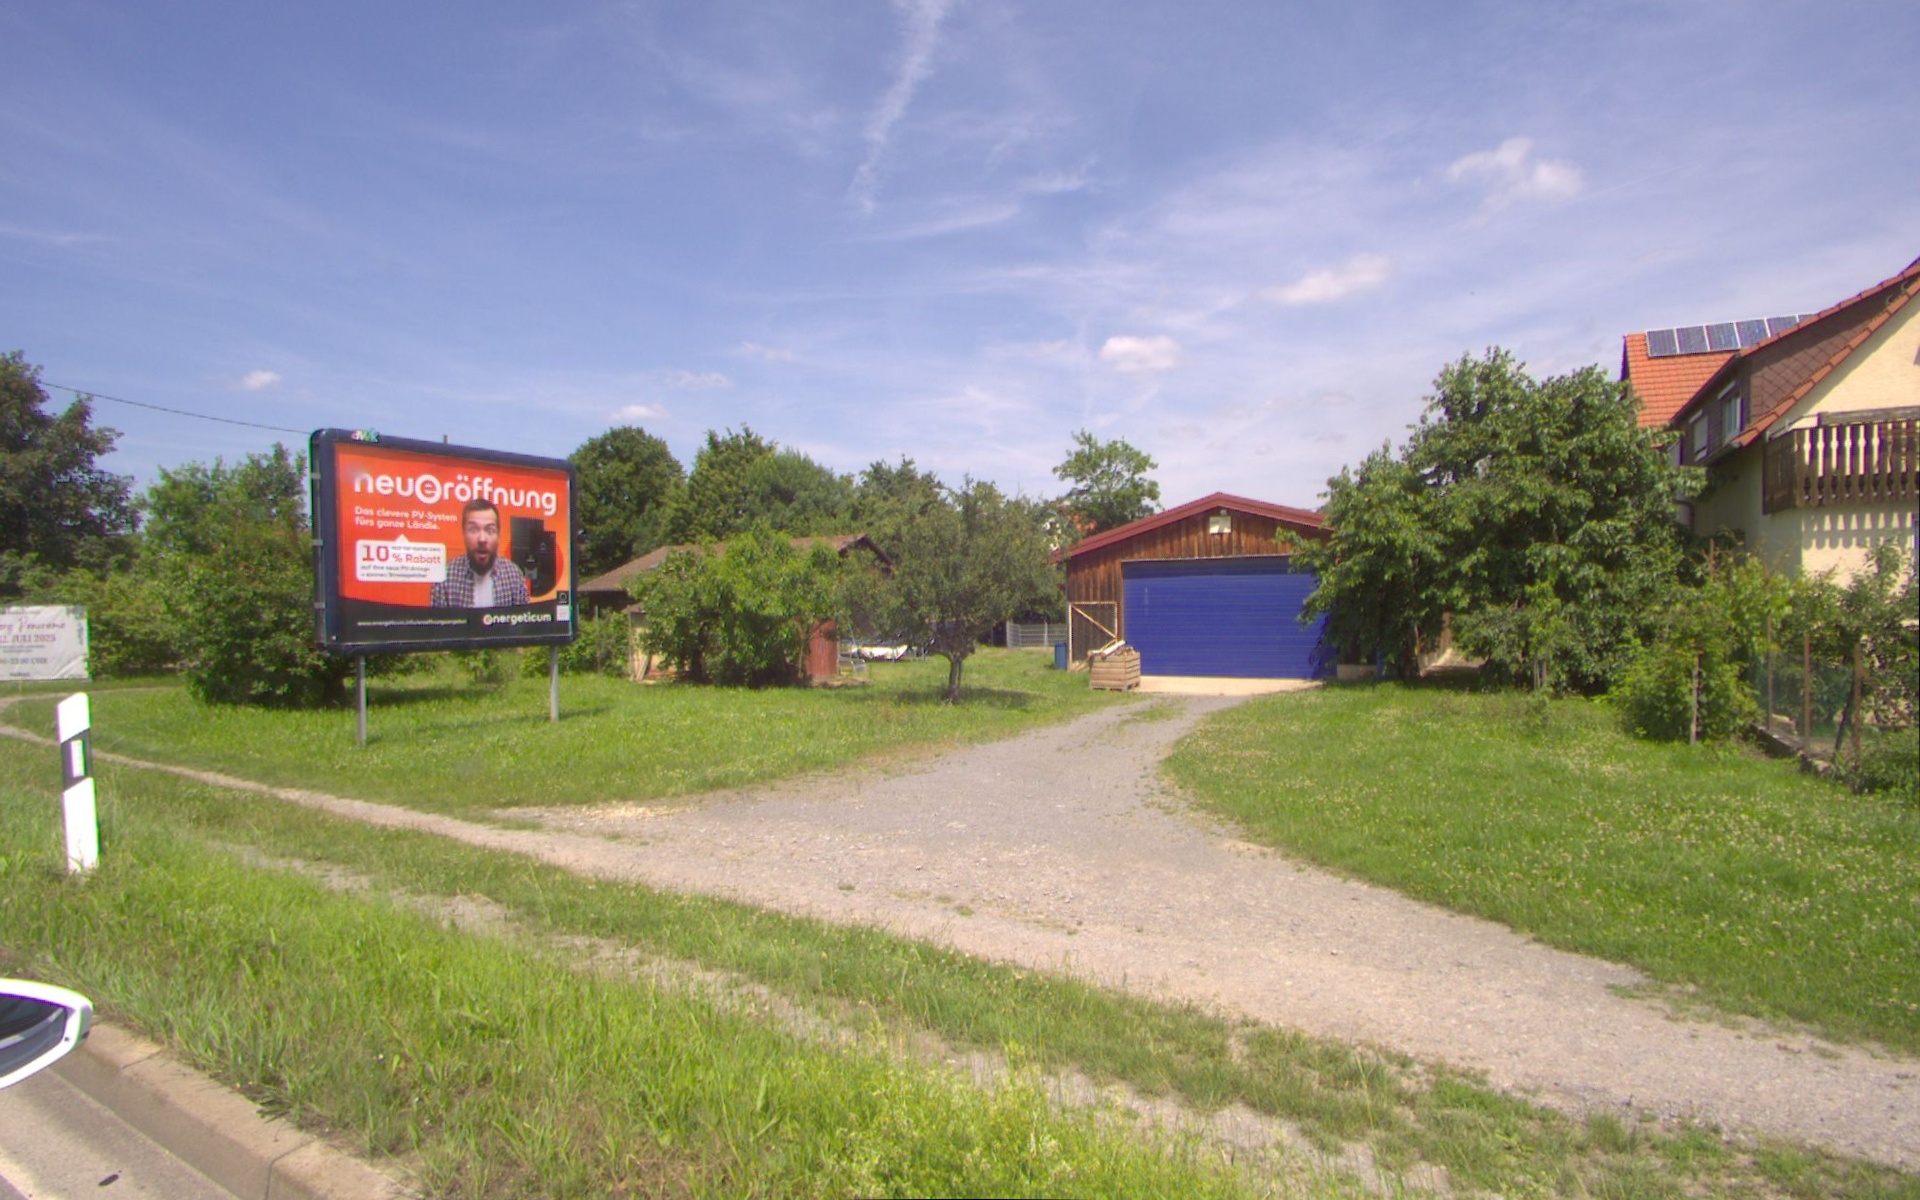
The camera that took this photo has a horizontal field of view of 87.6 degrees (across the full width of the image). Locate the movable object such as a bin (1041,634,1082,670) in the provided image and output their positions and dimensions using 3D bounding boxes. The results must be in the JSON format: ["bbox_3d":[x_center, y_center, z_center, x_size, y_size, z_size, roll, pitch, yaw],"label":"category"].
[{"bbox_3d":[3.096,1.568,30.459,1.044,1.046,1.040,0,-1,17],"label":"movable object such as a bin"}]

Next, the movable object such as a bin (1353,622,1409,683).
[{"bbox_3d":[10.227,1.255,24.303,1.049,1.415,1.271,0,0,33],"label":"movable object such as a bin"}]
